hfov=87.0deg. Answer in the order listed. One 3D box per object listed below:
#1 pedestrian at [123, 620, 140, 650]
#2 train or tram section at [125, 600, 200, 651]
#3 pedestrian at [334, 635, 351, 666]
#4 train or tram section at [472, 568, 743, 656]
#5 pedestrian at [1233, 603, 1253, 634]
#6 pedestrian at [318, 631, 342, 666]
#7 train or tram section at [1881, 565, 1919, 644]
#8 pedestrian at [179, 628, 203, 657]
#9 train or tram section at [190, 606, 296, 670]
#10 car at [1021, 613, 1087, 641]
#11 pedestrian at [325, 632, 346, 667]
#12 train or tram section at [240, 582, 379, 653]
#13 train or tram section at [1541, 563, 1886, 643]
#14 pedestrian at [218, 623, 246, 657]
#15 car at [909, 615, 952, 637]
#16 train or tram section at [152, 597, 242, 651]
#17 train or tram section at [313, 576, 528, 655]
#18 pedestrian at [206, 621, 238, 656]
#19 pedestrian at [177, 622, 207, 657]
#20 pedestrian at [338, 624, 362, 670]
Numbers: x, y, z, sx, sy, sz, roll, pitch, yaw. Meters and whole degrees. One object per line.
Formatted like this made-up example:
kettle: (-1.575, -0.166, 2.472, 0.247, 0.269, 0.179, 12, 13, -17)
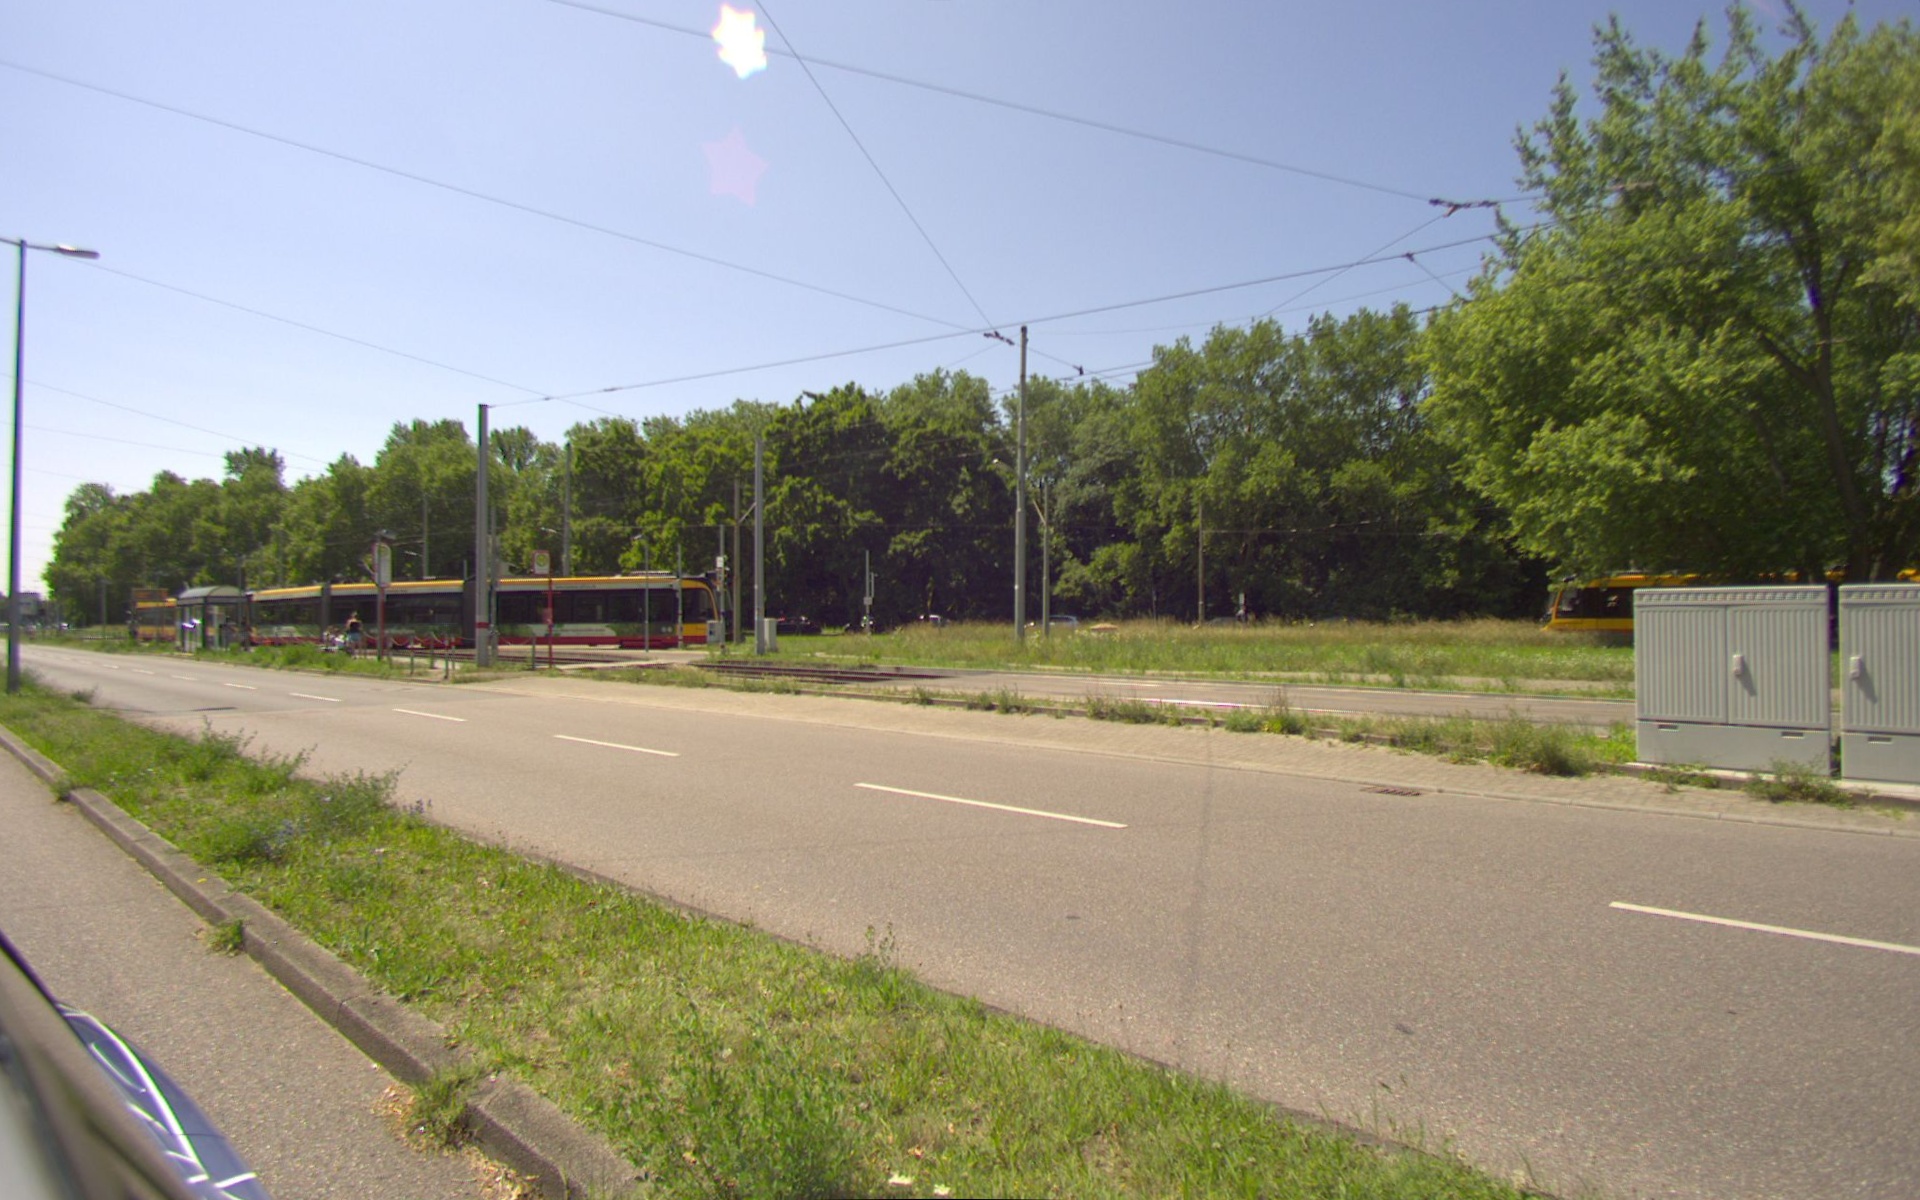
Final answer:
pedestrian: (-50.509, 2.138, 61.687, 0.776, 1.804, 0.625, -2, 0, 40)
train or tram section: (-66.226, 2.120, 83.876, 11.537, 3.884, 2.919, -2, 0, 42)
pedestrian: (-21.603, 1.764, 35.387, 0.377, 1.066, 0.379, -2, 0, 40)
train or tram section: (-16.423, 0.608, 47.122, 12.335, 3.652, 3.039, -2, 0, 15)
pedestrian: (14.920, 0.984, 53.447, 0.779, 1.586, 0.692, -2, 0, -4)
pedestrian: (-22.320, 1.704, 35.864, 0.536, 1.198, 0.575, -2, 0, 40)
train or tram section: (46.130, 0.068, 43.001, 10.227, 3.492, 3.002, -2, 0, 44)
pedestrian: (-35.768, 1.964, 47.065, 0.839, 1.293, 0.694, -2, 0, 40)
train or tram section: (-47.726, 2.479, 67.106, 13.260, 3.795, 3.011, -2, 0, 43)
car: (6.329, 1.792, 68.017, 3.975, 1.741, 1.984, -2, 0, 24)
pedestrian: (-21.943, 1.740, 35.571, 0.400, 1.198, 0.489, -2, 0, 40)
train or tram section: (-37.611, 1.060, 58.158, 13.891, 3.652, 3.012, -2, 0, 41)
train or tram section: (36.572, 0.229, 50.053, 13.187, 3.492, 3.021, -2, 0, 25)
pedestrian: (-32.896, 1.802, 45.725, 0.878, 1.519, 0.826, -2, 0, 40)
car: (-2.298, 2.047, 78.841, 3.059, 1.608, 1.375, -2, 0, 29)
train or tram section: (-57.294, 1.818, 75.781, 12.592, 3.769, 3.011, -2, 0, 42)
train or tram section: (-27.412, 0.858, 51.153, 12.388, 3.652, 3.026, -2, 0, 27)
pedestrian: (-33.706, 1.751, 46.222, 0.985, 1.558, 0.921, -2, 0, 40)
pedestrian: (-35.059, 1.803, 46.203, 1.025, 1.558, 0.865, -2, 0, 40)
pedestrian: (-21.173, 1.626, 35.131, 0.582, 1.577, 0.529, -2, 0, 41)
